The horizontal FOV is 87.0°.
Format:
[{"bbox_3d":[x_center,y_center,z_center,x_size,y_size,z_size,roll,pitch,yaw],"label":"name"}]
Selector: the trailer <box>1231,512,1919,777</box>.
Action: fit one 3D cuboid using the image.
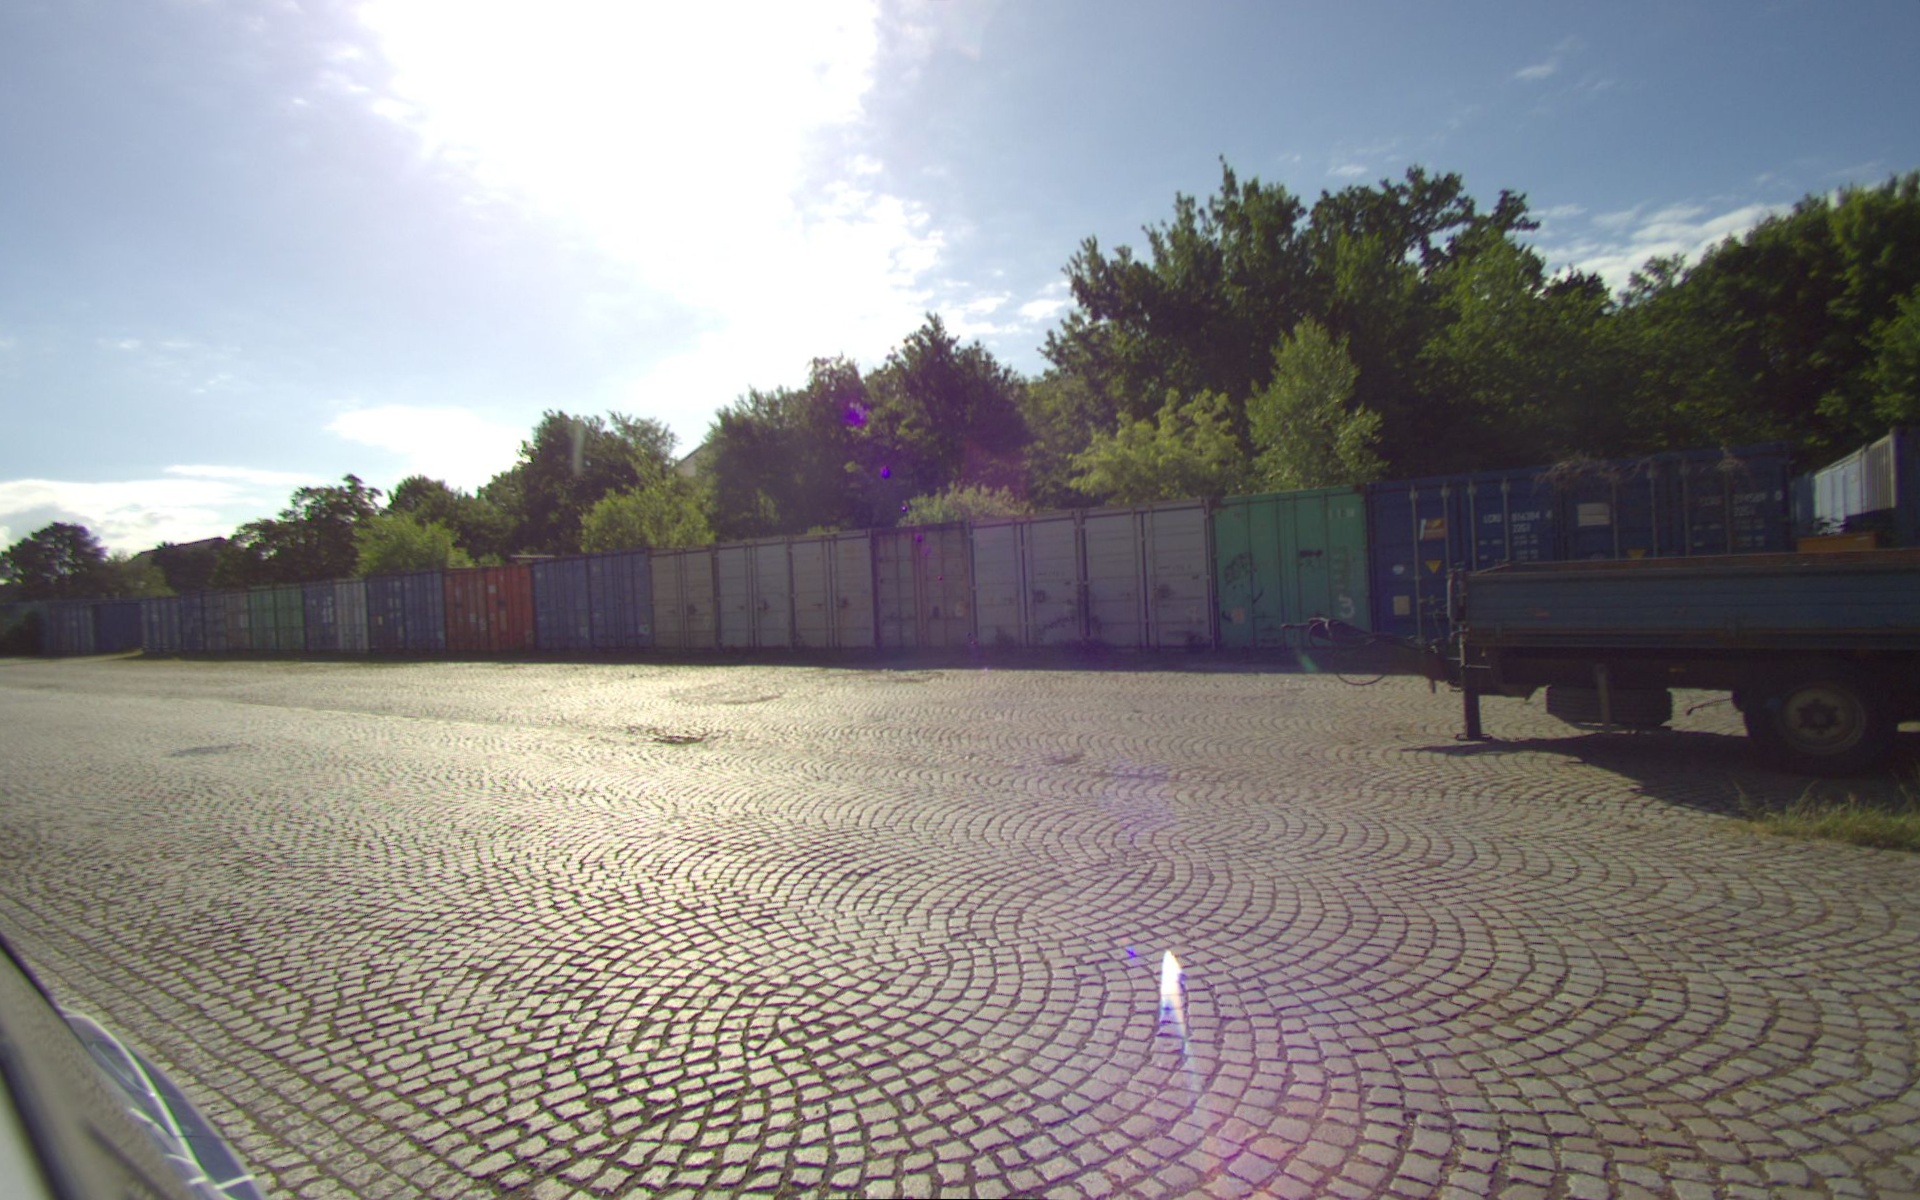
[{"bbox_3d":[5.674,0.219,7.475,6.481,1.529,2.821,-3,1,37],"label":"trailer"}]
